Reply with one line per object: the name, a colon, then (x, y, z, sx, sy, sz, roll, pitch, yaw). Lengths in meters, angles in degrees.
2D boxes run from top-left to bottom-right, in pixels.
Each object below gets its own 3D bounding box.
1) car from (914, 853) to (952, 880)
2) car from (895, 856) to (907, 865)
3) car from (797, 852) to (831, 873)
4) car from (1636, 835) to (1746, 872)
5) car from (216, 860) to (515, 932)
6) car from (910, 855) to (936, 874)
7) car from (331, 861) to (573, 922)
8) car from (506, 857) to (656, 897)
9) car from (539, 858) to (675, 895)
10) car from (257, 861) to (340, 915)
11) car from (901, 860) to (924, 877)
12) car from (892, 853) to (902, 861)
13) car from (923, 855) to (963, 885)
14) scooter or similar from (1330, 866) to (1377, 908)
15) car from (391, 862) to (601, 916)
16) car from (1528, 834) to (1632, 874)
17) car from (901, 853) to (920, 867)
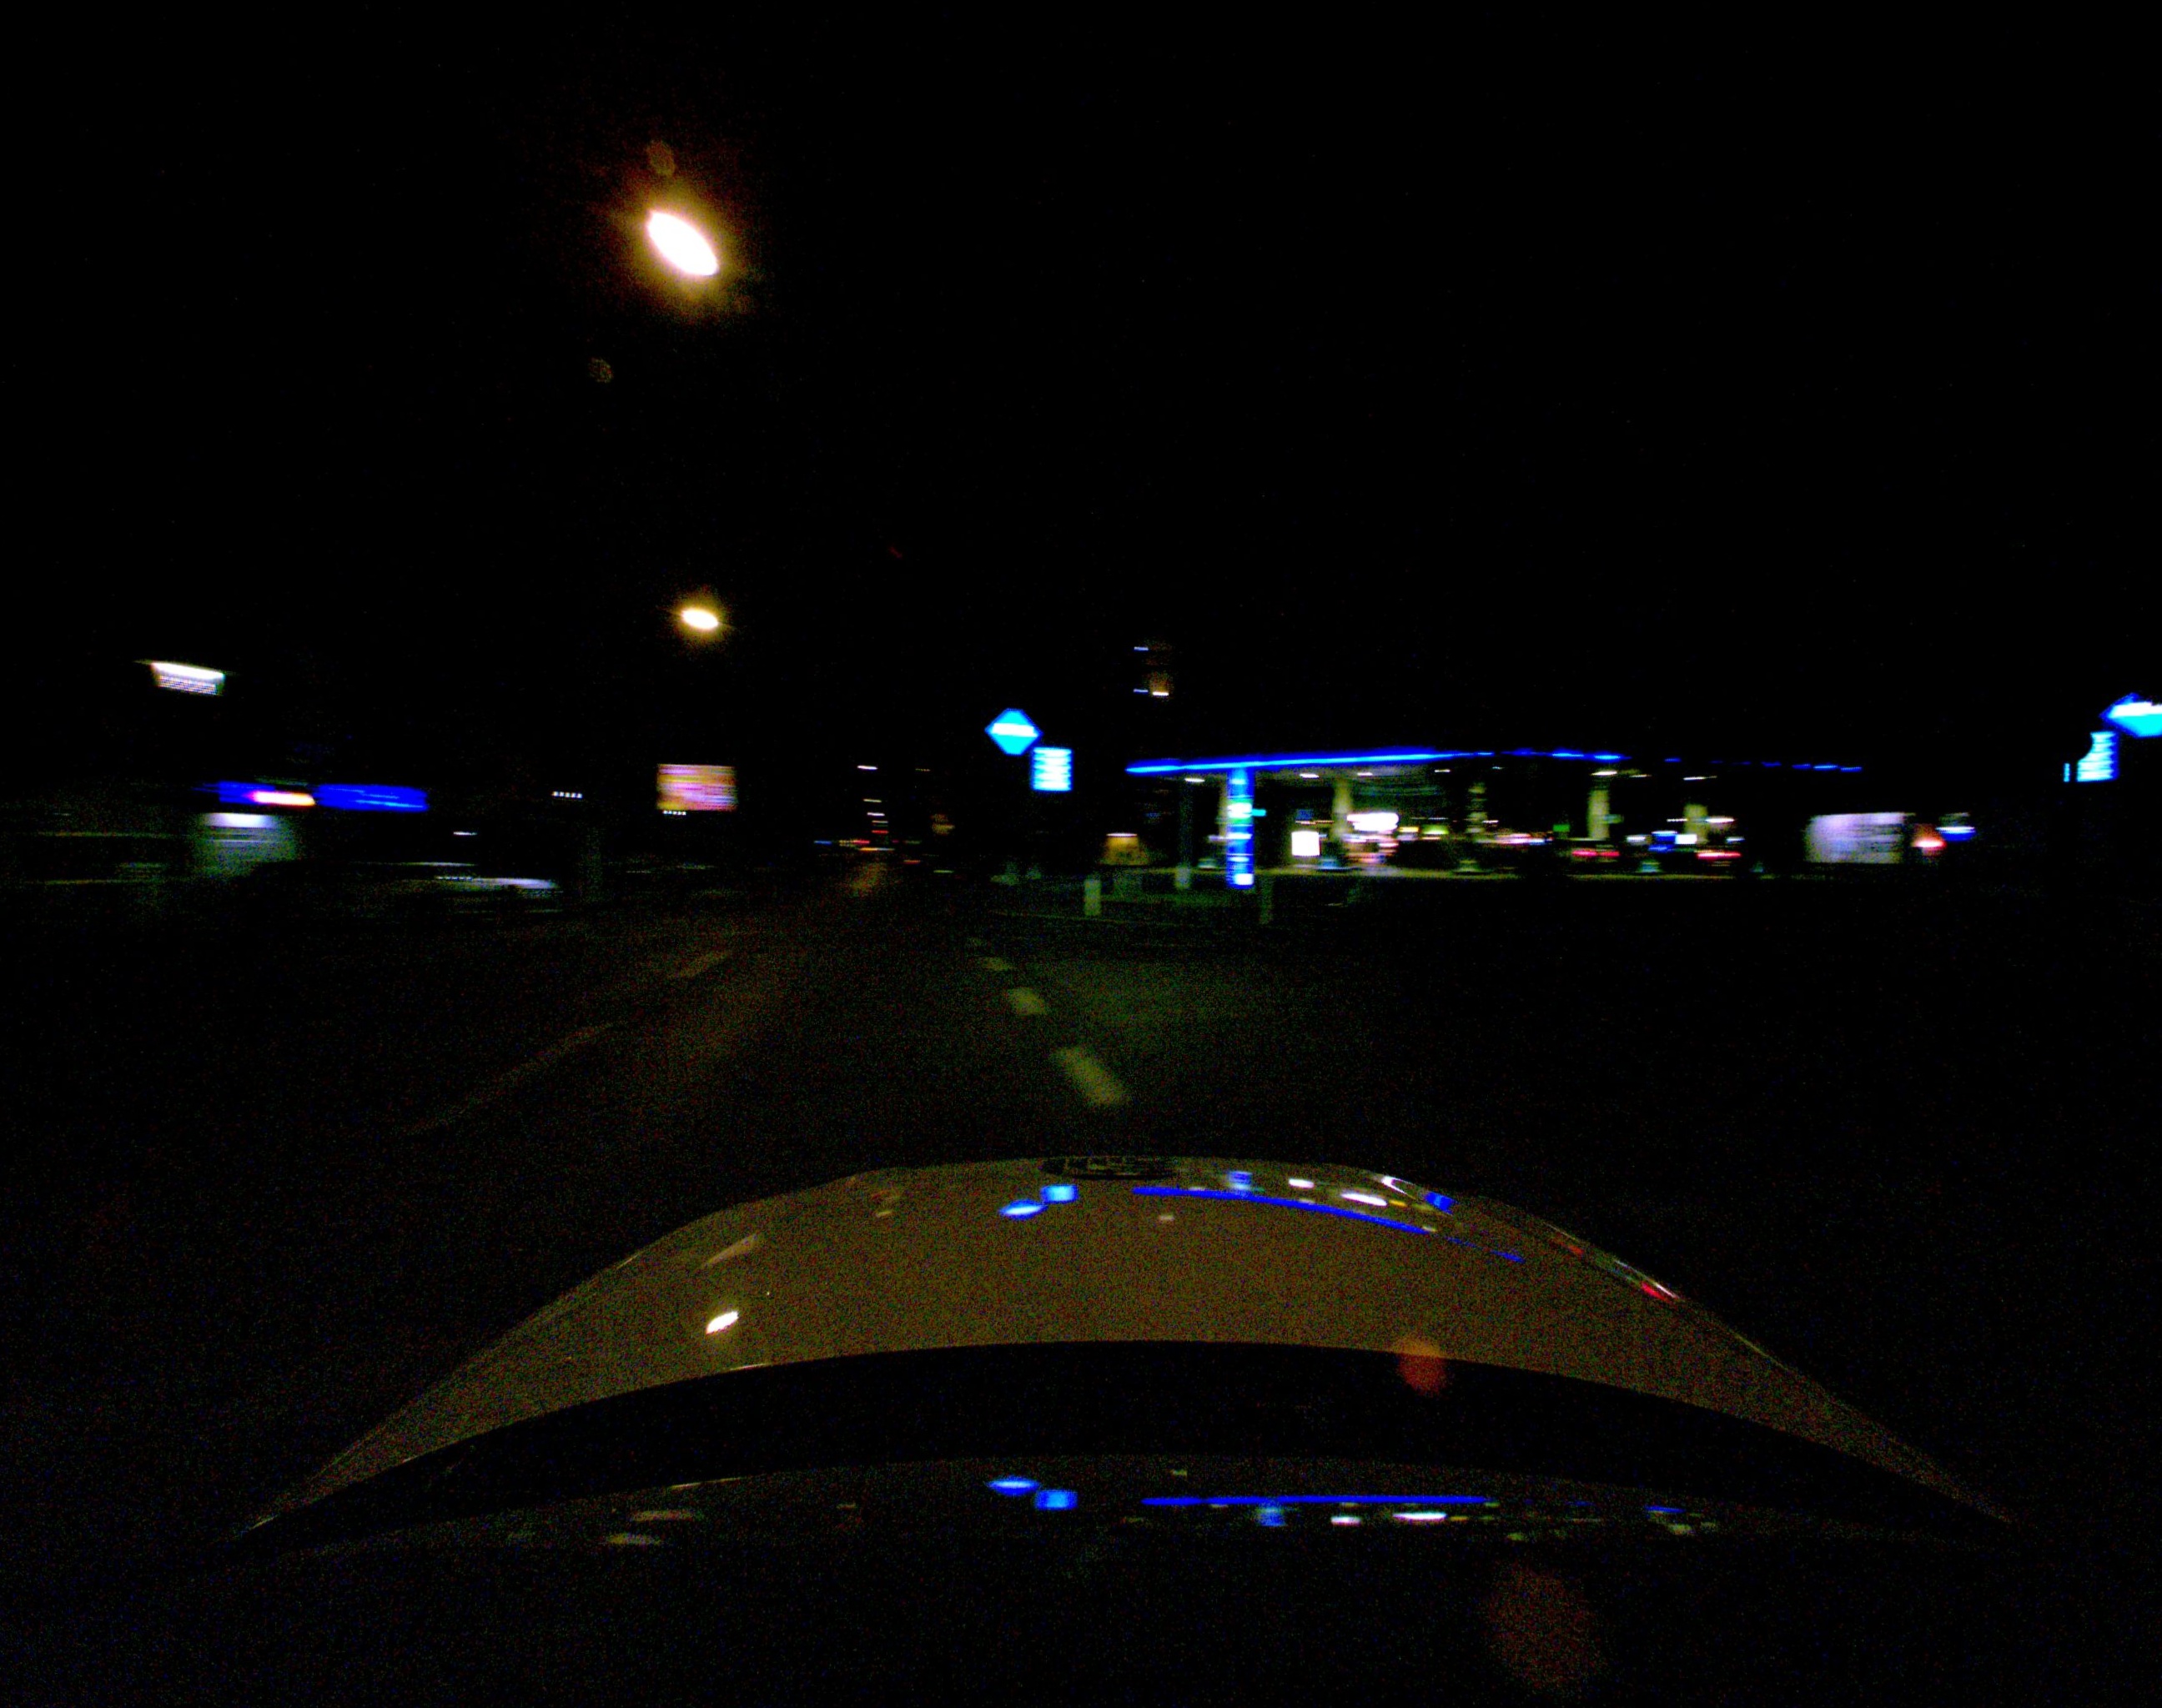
car: (-9.077, 0.750, 49.802, 1.997, 1.596, 3.980, 1, 0, -15)
car: (-30.385, 1.096, 137.349, 1.995, 1.520, 3.983, 0, -1, -12)
car: (-19.749, 0.653, 60.373, 1.996, 1.502, 3.981, 0, -1, -13)
car: (30.426, -0.051, 40.760, 1.997, 1.663, 3.980, 0, 2, -16)
car: (-15.439, 0.874, 17.893, 4.445, 1.450, 1.990, 0, -1, -14)
car: (-13.091, 0.837, 67.397, 1.995, 1.520, 3.983, 0, -1, -12)
car: (-15.968, 0.920, 20.967, 4.447, 1.450, 1.990, 0, -1, -15)
car: (-18.905, 0.866, 31.031, 4.445, 1.450, 1.990, 0, -1, -14)
car: (-19.552, 0.904, 33.823, 4.445, 1.450, 1.990, 0, -1, -14)
car: (-27.683, 1.172, 28.907, 2.011, 1.775, 3.951, 1, -2, -43)
car: (-15.324, 1.336, 74.256, 1.995, 1.520, 3.983, 0, -1, -12)
car: (-36.042, 0.591, 159.616, 1.995, 1.520, 3.983, 0, -1, -12)
car: (-7.563, 0.841, 44.439, 1.995, 1.516, 3.984, 1, 0, -12)
scooter or similar: (7.751, 0.921, 23.127, 0.707, 1.092, 1.691, 0, 1, 39)
car: (-16.651, 0.958, 23.465, 4.445, 1.450, 1.990, 0, -1, -14)
car: (24.319, -0.039, 39.899, 1.994, 1.768, 4.237, 0, 2, -10)
car: (-19.184, 0.649, 91.518, 1.995, 1.520, 3.983, 0, -1, -12)
